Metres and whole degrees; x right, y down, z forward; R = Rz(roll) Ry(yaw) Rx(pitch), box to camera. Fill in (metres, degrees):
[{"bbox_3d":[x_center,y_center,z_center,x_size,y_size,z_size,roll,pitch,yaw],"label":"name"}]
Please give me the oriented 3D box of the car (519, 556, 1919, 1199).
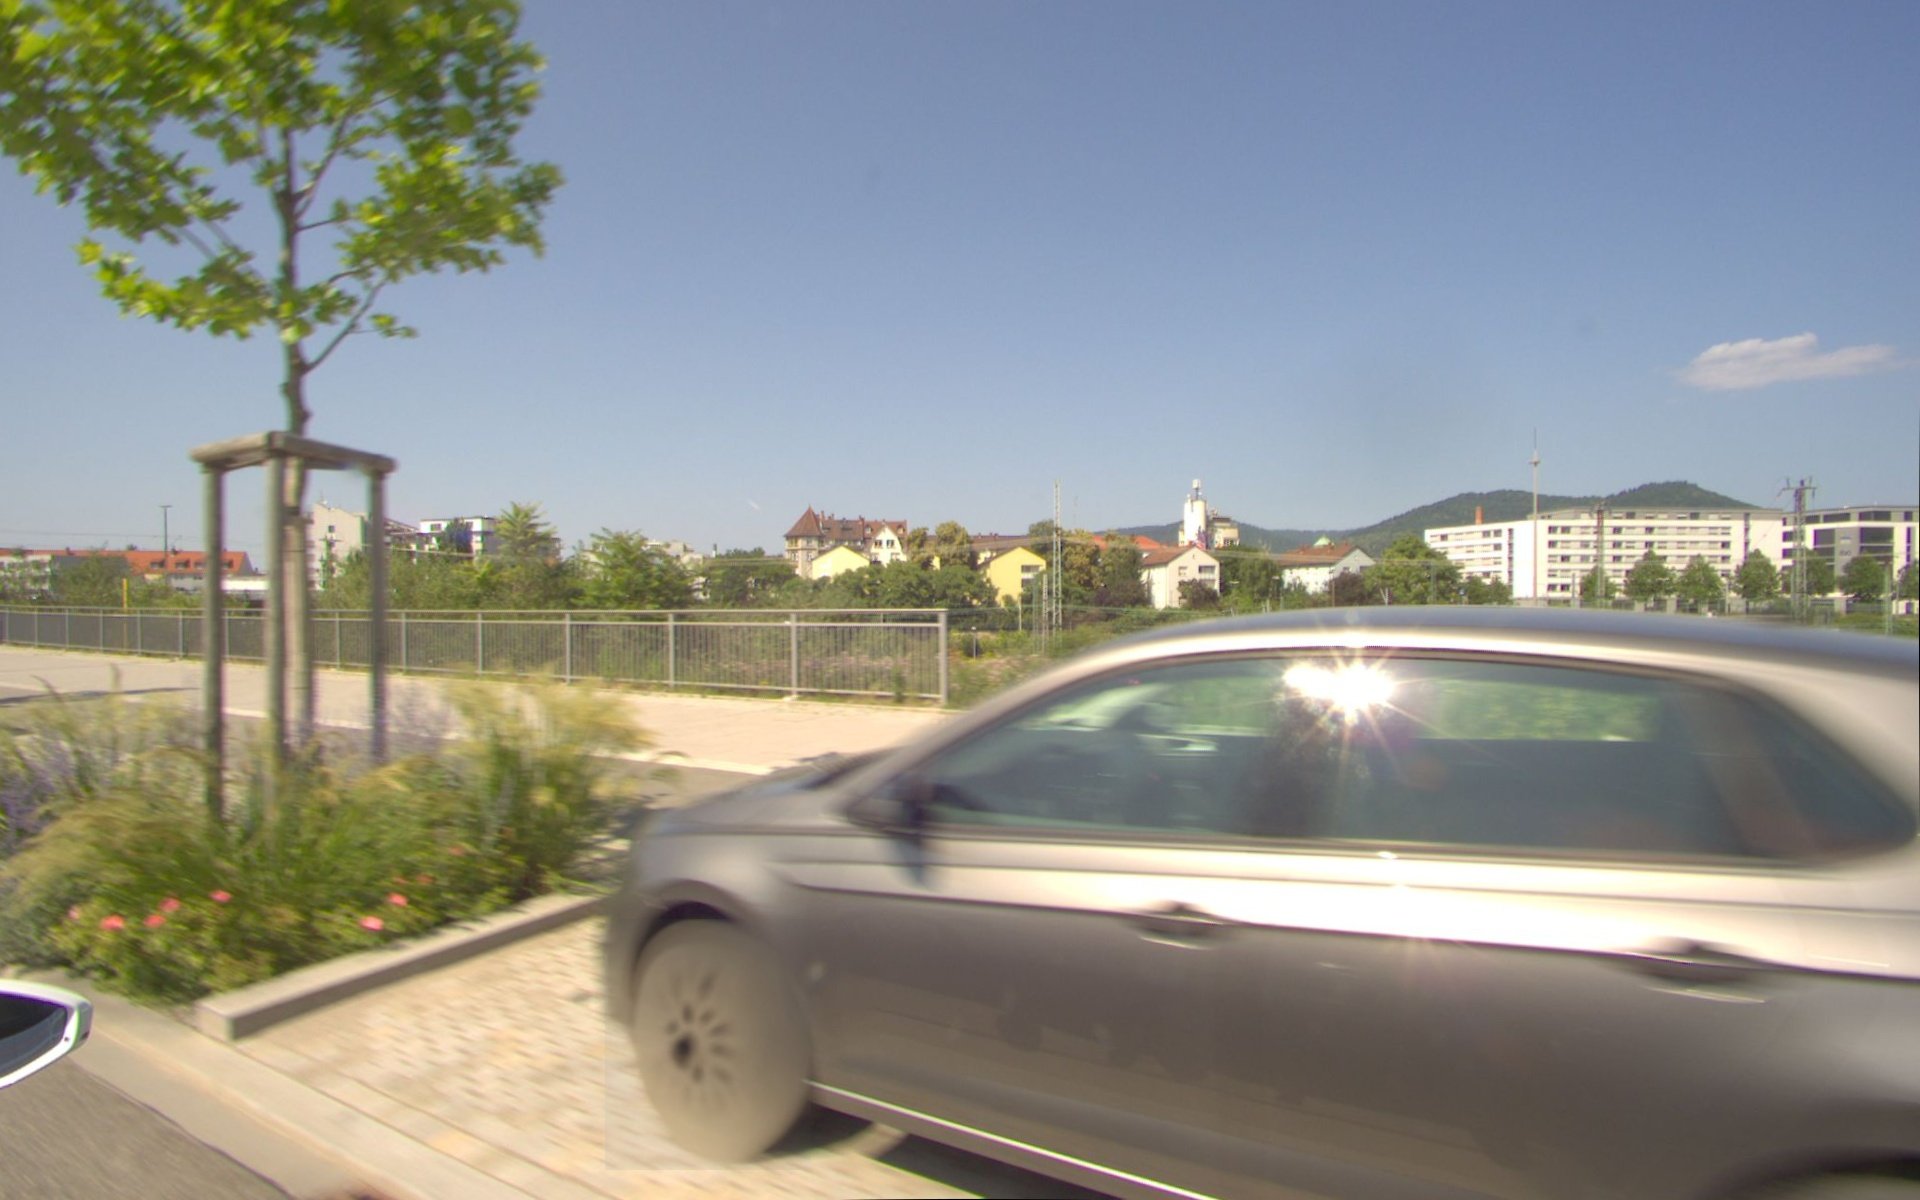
[{"bbox_3d":[0.745,0.693,2.788,3.896,1.482,1.701,0,0,31],"label":"car"}]
